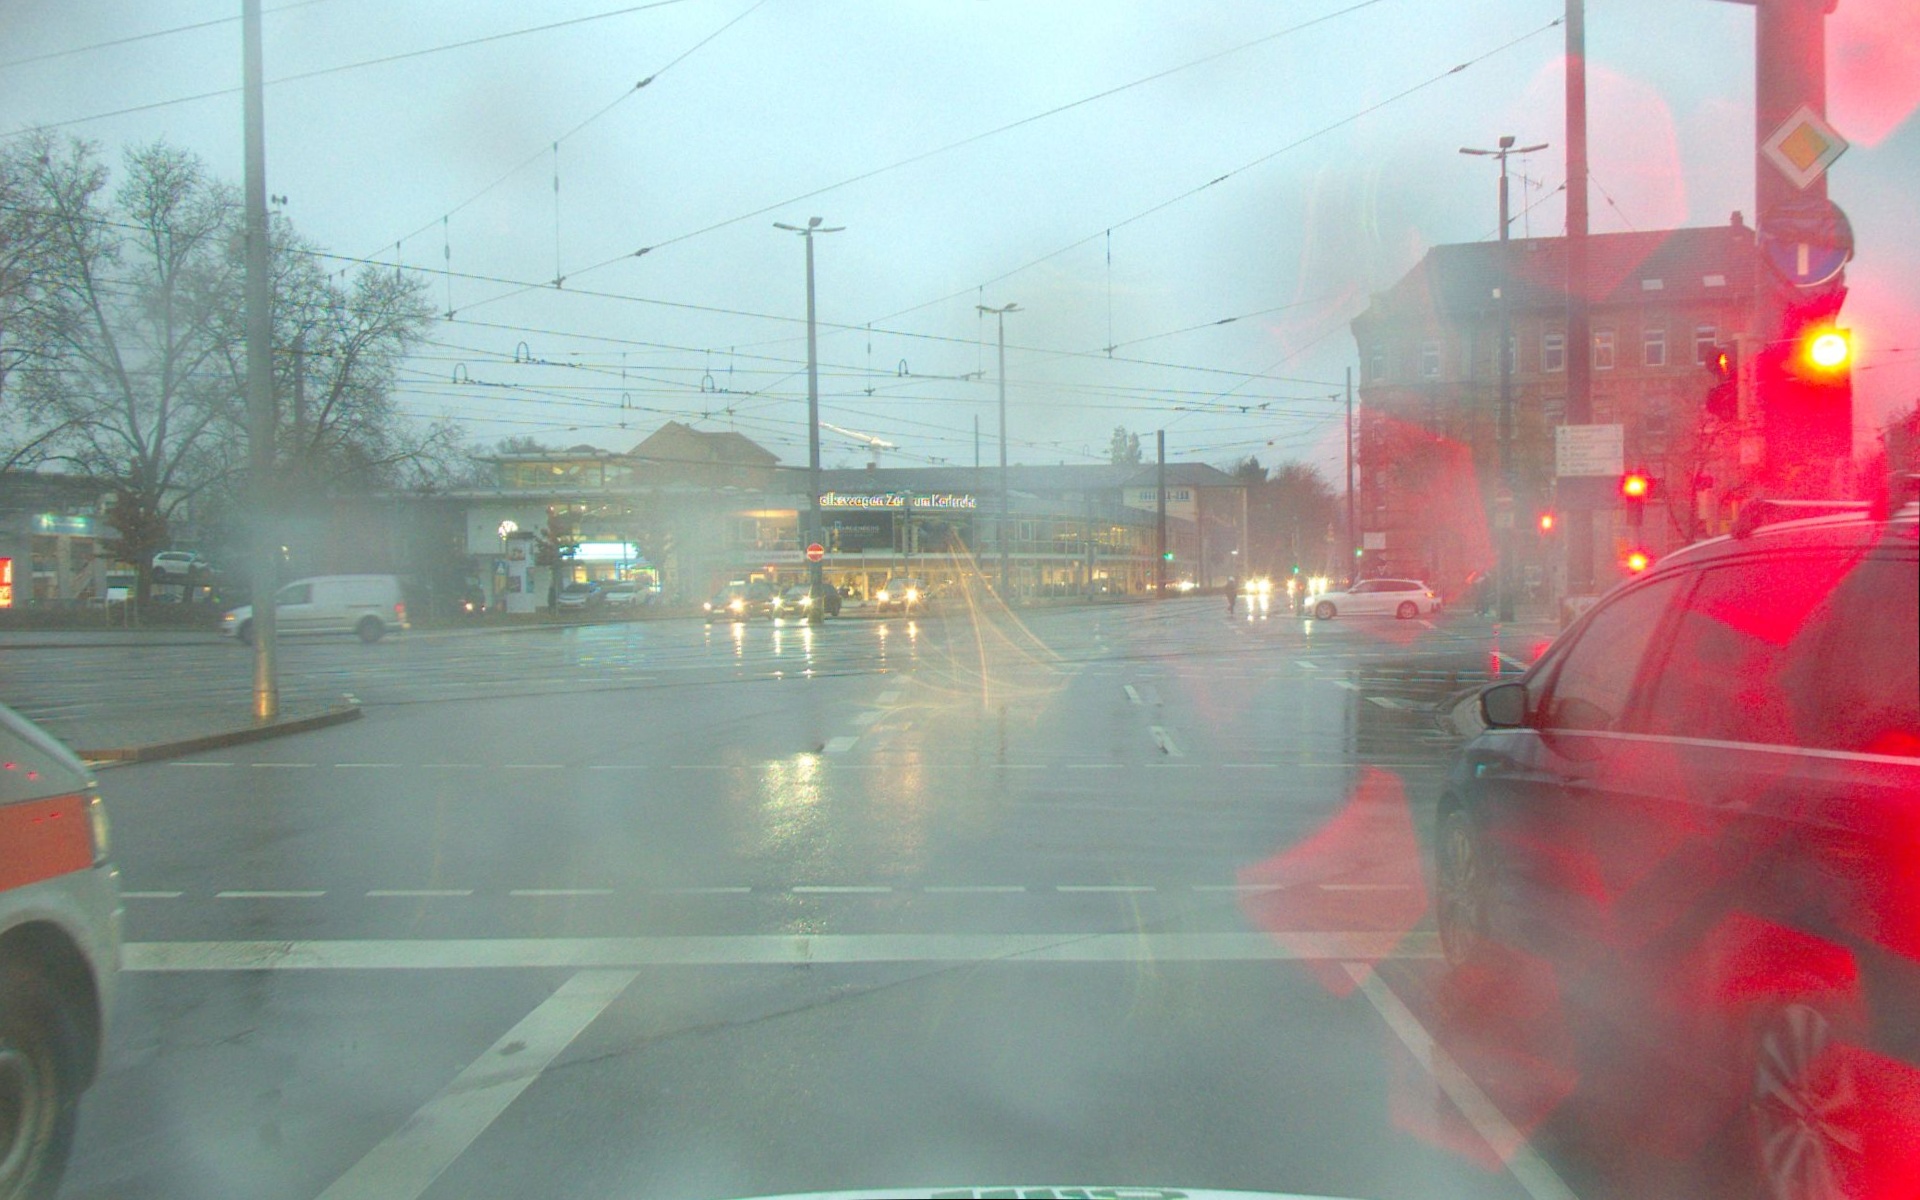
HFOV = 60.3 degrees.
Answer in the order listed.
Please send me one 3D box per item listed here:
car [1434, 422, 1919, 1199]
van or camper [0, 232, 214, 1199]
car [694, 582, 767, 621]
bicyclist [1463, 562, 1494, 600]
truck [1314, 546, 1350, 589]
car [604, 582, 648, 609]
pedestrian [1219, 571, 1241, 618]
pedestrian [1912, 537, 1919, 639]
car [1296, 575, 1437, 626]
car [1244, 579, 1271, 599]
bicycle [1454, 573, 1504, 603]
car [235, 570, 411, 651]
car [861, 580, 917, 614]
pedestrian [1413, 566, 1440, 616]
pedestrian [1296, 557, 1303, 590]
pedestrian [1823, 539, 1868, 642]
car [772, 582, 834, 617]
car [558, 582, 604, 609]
[{"bbox_3d":[2.835,0.537,4.819,1.741,1.831,4.426,0,1,1],"label":"car"},{"bbox_3d":[-3.011,0.341,1.702,2.156,2.146,4.988,0,0,1],"label":"van or camper"},{"bbox_3d":[-9.092,0.057,65.883,1.774,1.472,4.003,-1,0,9],"label":"car"},{"bbox_3d":[24.872,-0.921,79.335,1.052,1.799,1.045,-1,0,40],"label":"bicyclist"},{"bbox_3d":[24.686,-2.110,109.742,1.951,2.738,5.118,-1,0,17],"label":"truck"},{"bbox_3d":[-20.814,-0.300,103.242,1.824,1.629,4.001,-1,0,1],"label":"car"},{"bbox_3d":[10.914,-0.215,66.921,0.586,1.872,0.611,-1,0,-35],"label":"pedestrian"},{"bbox_3d":[18.911,-0.238,32.137,0.663,1.984,0.661,-1,0,27],"label":"pedestrian"},{"bbox_3d":[14.240,0.024,58.159,4.695,1.686,1.742,-1,0,10],"label":"car"},{"bbox_3d":[25.733,-0.946,143.127,1.823,1.629,3.788,-1,0,17],"label":"car"},{"bbox_3d":[24.890,-0.569,79.269,2.165,1.400,0.695,-1,0,38],"label":"bicycle"},{"bbox_3d":[-17.340,0.315,45.231,4.336,2.049,1.900,1,-3,-19],"label":"car"},{"bbox_3d":[-3.192,-0.155,75.294,1.774,1.472,4.003,-1,0,9],"label":"car"},{"bbox_3d":[19.658,-0.379,69.750,0.721,2.049,0.781,-1,0,-29],"label":"pedestrian"},{"bbox_3d":[21.113,-1.652,102.917,0.336,2.049,0.418,-1,0,15],"label":"pedestrian"},{"bbox_3d":[17.201,-0.185,32.129,0.664,1.984,0.674,-1,0,36],"label":"pedestrian"},{"bbox_3d":[-6.855,-0.030,72.578,1.774,1.472,4.003,-1,0,9],"label":"car"},{"bbox_3d":[-23.663,-0.284,103.441,1.824,1.629,4.001,-1,0,1],"label":"car"}]
